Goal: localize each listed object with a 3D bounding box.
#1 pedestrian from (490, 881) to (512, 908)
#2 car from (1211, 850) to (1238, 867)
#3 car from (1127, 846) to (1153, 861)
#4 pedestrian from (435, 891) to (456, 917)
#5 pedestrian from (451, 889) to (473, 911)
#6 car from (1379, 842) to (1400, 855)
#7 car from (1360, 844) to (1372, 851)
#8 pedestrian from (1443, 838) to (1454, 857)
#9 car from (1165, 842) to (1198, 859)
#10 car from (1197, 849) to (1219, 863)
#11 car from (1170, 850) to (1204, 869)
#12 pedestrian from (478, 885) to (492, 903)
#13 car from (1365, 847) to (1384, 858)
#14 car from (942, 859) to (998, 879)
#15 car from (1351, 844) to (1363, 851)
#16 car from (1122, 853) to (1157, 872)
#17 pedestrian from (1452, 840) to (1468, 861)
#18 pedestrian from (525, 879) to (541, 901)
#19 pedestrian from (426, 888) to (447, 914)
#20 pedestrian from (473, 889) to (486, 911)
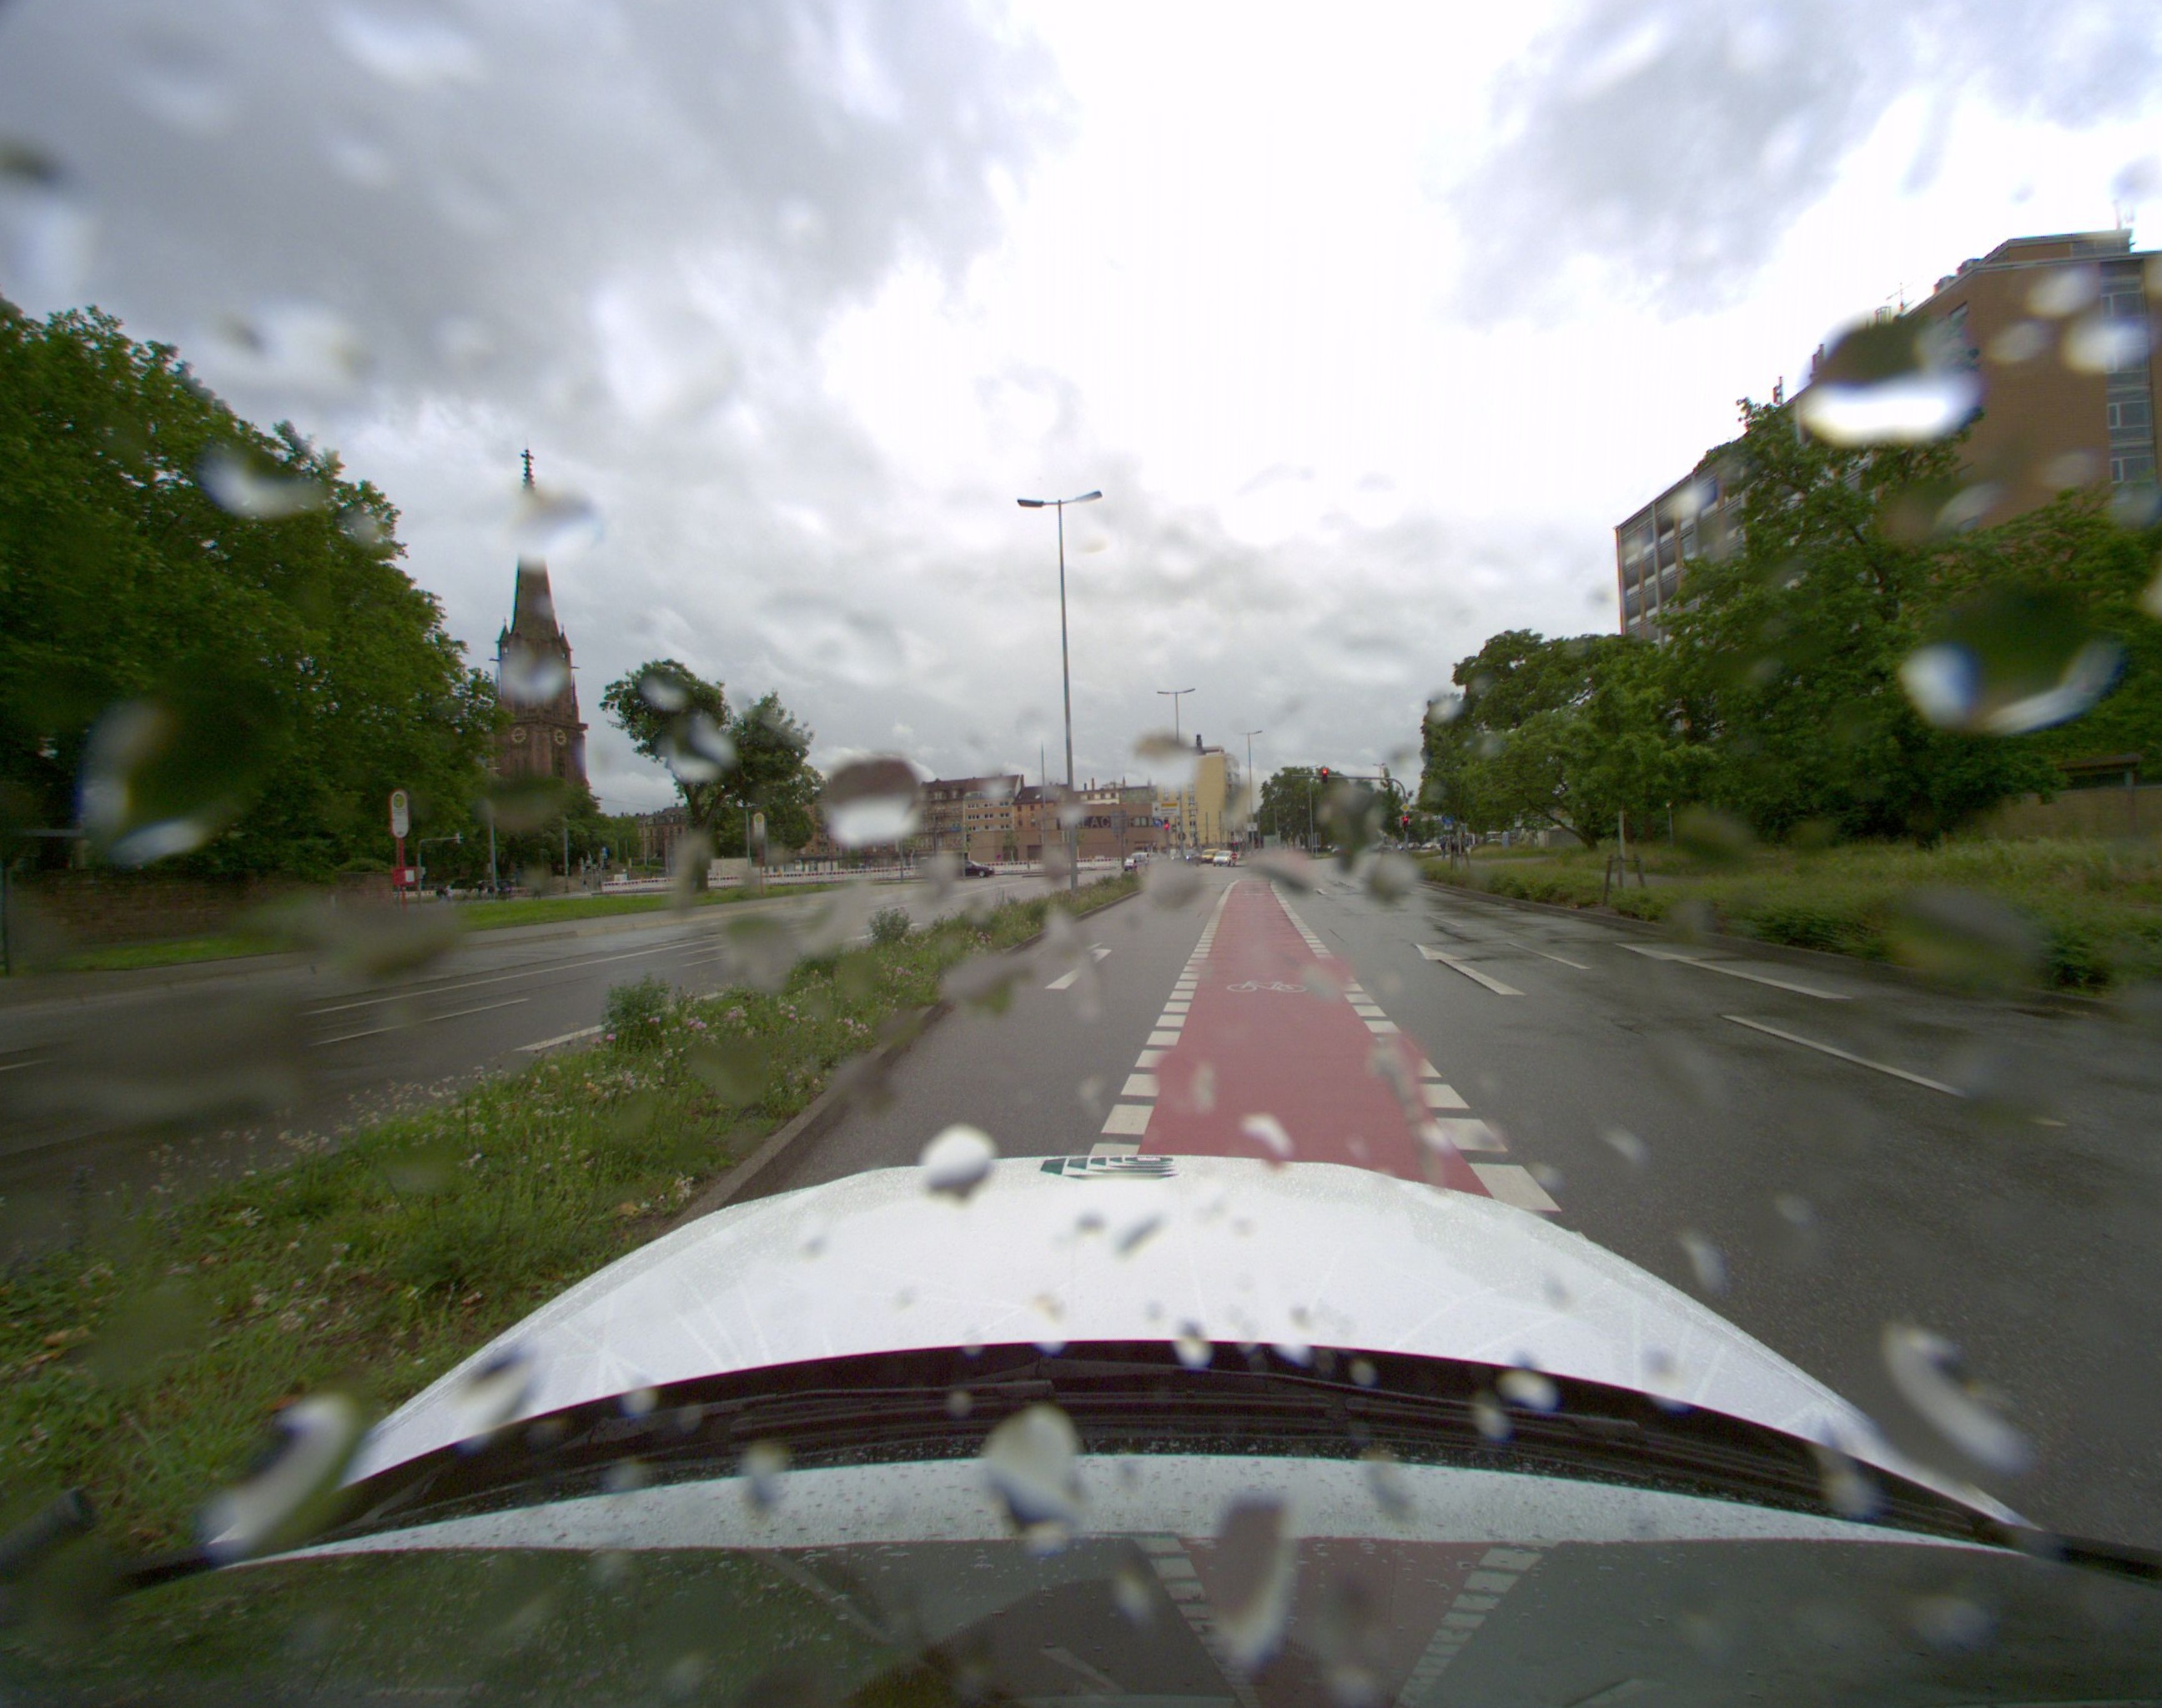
[{"bbox_3d":[-46.836,3.258,65.779,0.996,2.013,1.303,-2,0,-13],"label":"pedestrian"},{"bbox_3d":[14.229,0.439,80.550,1.664,1.501,3.890,-3,0,23],"label":"car"},{"bbox_3d":[13.011,-0.095,179.826,5.310,2.887,2.349,-3,0,16],"label":"car"},{"bbox_3d":[-51.443,4.022,65.942,0.850,2.013,0.960,-2,0,13],"label":"pedestrian"},{"bbox_3d":[-47.040,3.481,61.897,0.931,1.539,1.056,-2,0,-13],"label":"pedestrian"},{"bbox_3d":[43.951,-0.794,116.018,1.772,1.643,4.186,-2,0,35],"label":"car"},{"bbox_3d":[75.007,-1.787,214.541,1.772,1.643,4.186,-2,0,37],"label":"car"},{"bbox_3d":[31.436,-0.540,69.624,0.747,1.588,0.942,-2,0,23],"label":"pedestrian"},{"bbox_3d":[21.910,-0.769,177.095,6.690,3.380,2.821,-3,0,16],"label":"car"},{"bbox_3d":[15.763,0.233,101.000,1.690,1.706,4.176,-2,0,24],"label":"car"},{"bbox_3d":[10.217,0.492,78.153,1.976,1.636,4.628,-4,-1,22],"label":"car"},{"bbox_3d":[-50.065,3.356,68.435,0.675,1.500,0.769,-2,0,-18],"label":"pedestrian"},{"bbox_3d":[55.756,-0.246,154.731,4.208,1.690,1.678,-5,2,-44],"label":"car"},{"bbox_3d":[-9.022,1.234,66.149,4.169,1.402,1.621,-2,0,7],"label":"car"},{"bbox_3d":[73.309,-1.716,215.959,1.772,1.643,4.186,-2,0,37],"label":"car"},{"bbox_3d":[4.697,0.660,65.208,1.665,1.404,4.179,-3,0,20],"label":"car"},{"bbox_3d":[29.428,-0.256,63.255,1.013,1.588,0.942,-2,0,23],"label":"pedestrian"},{"bbox_3d":[-45.422,3.002,67.471,0.718,1.777,0.777,-2,0,13],"label":"pedestrian"},{"bbox_3d":[-52.360,3.834,66.211,0.850,2.013,0.960,-2,0,13],"label":"pedestrian"},{"bbox_3d":[-52.710,4.021,71.310,0.601,1.890,0.603,-2,0,7],"label":"pedestrian"}]
